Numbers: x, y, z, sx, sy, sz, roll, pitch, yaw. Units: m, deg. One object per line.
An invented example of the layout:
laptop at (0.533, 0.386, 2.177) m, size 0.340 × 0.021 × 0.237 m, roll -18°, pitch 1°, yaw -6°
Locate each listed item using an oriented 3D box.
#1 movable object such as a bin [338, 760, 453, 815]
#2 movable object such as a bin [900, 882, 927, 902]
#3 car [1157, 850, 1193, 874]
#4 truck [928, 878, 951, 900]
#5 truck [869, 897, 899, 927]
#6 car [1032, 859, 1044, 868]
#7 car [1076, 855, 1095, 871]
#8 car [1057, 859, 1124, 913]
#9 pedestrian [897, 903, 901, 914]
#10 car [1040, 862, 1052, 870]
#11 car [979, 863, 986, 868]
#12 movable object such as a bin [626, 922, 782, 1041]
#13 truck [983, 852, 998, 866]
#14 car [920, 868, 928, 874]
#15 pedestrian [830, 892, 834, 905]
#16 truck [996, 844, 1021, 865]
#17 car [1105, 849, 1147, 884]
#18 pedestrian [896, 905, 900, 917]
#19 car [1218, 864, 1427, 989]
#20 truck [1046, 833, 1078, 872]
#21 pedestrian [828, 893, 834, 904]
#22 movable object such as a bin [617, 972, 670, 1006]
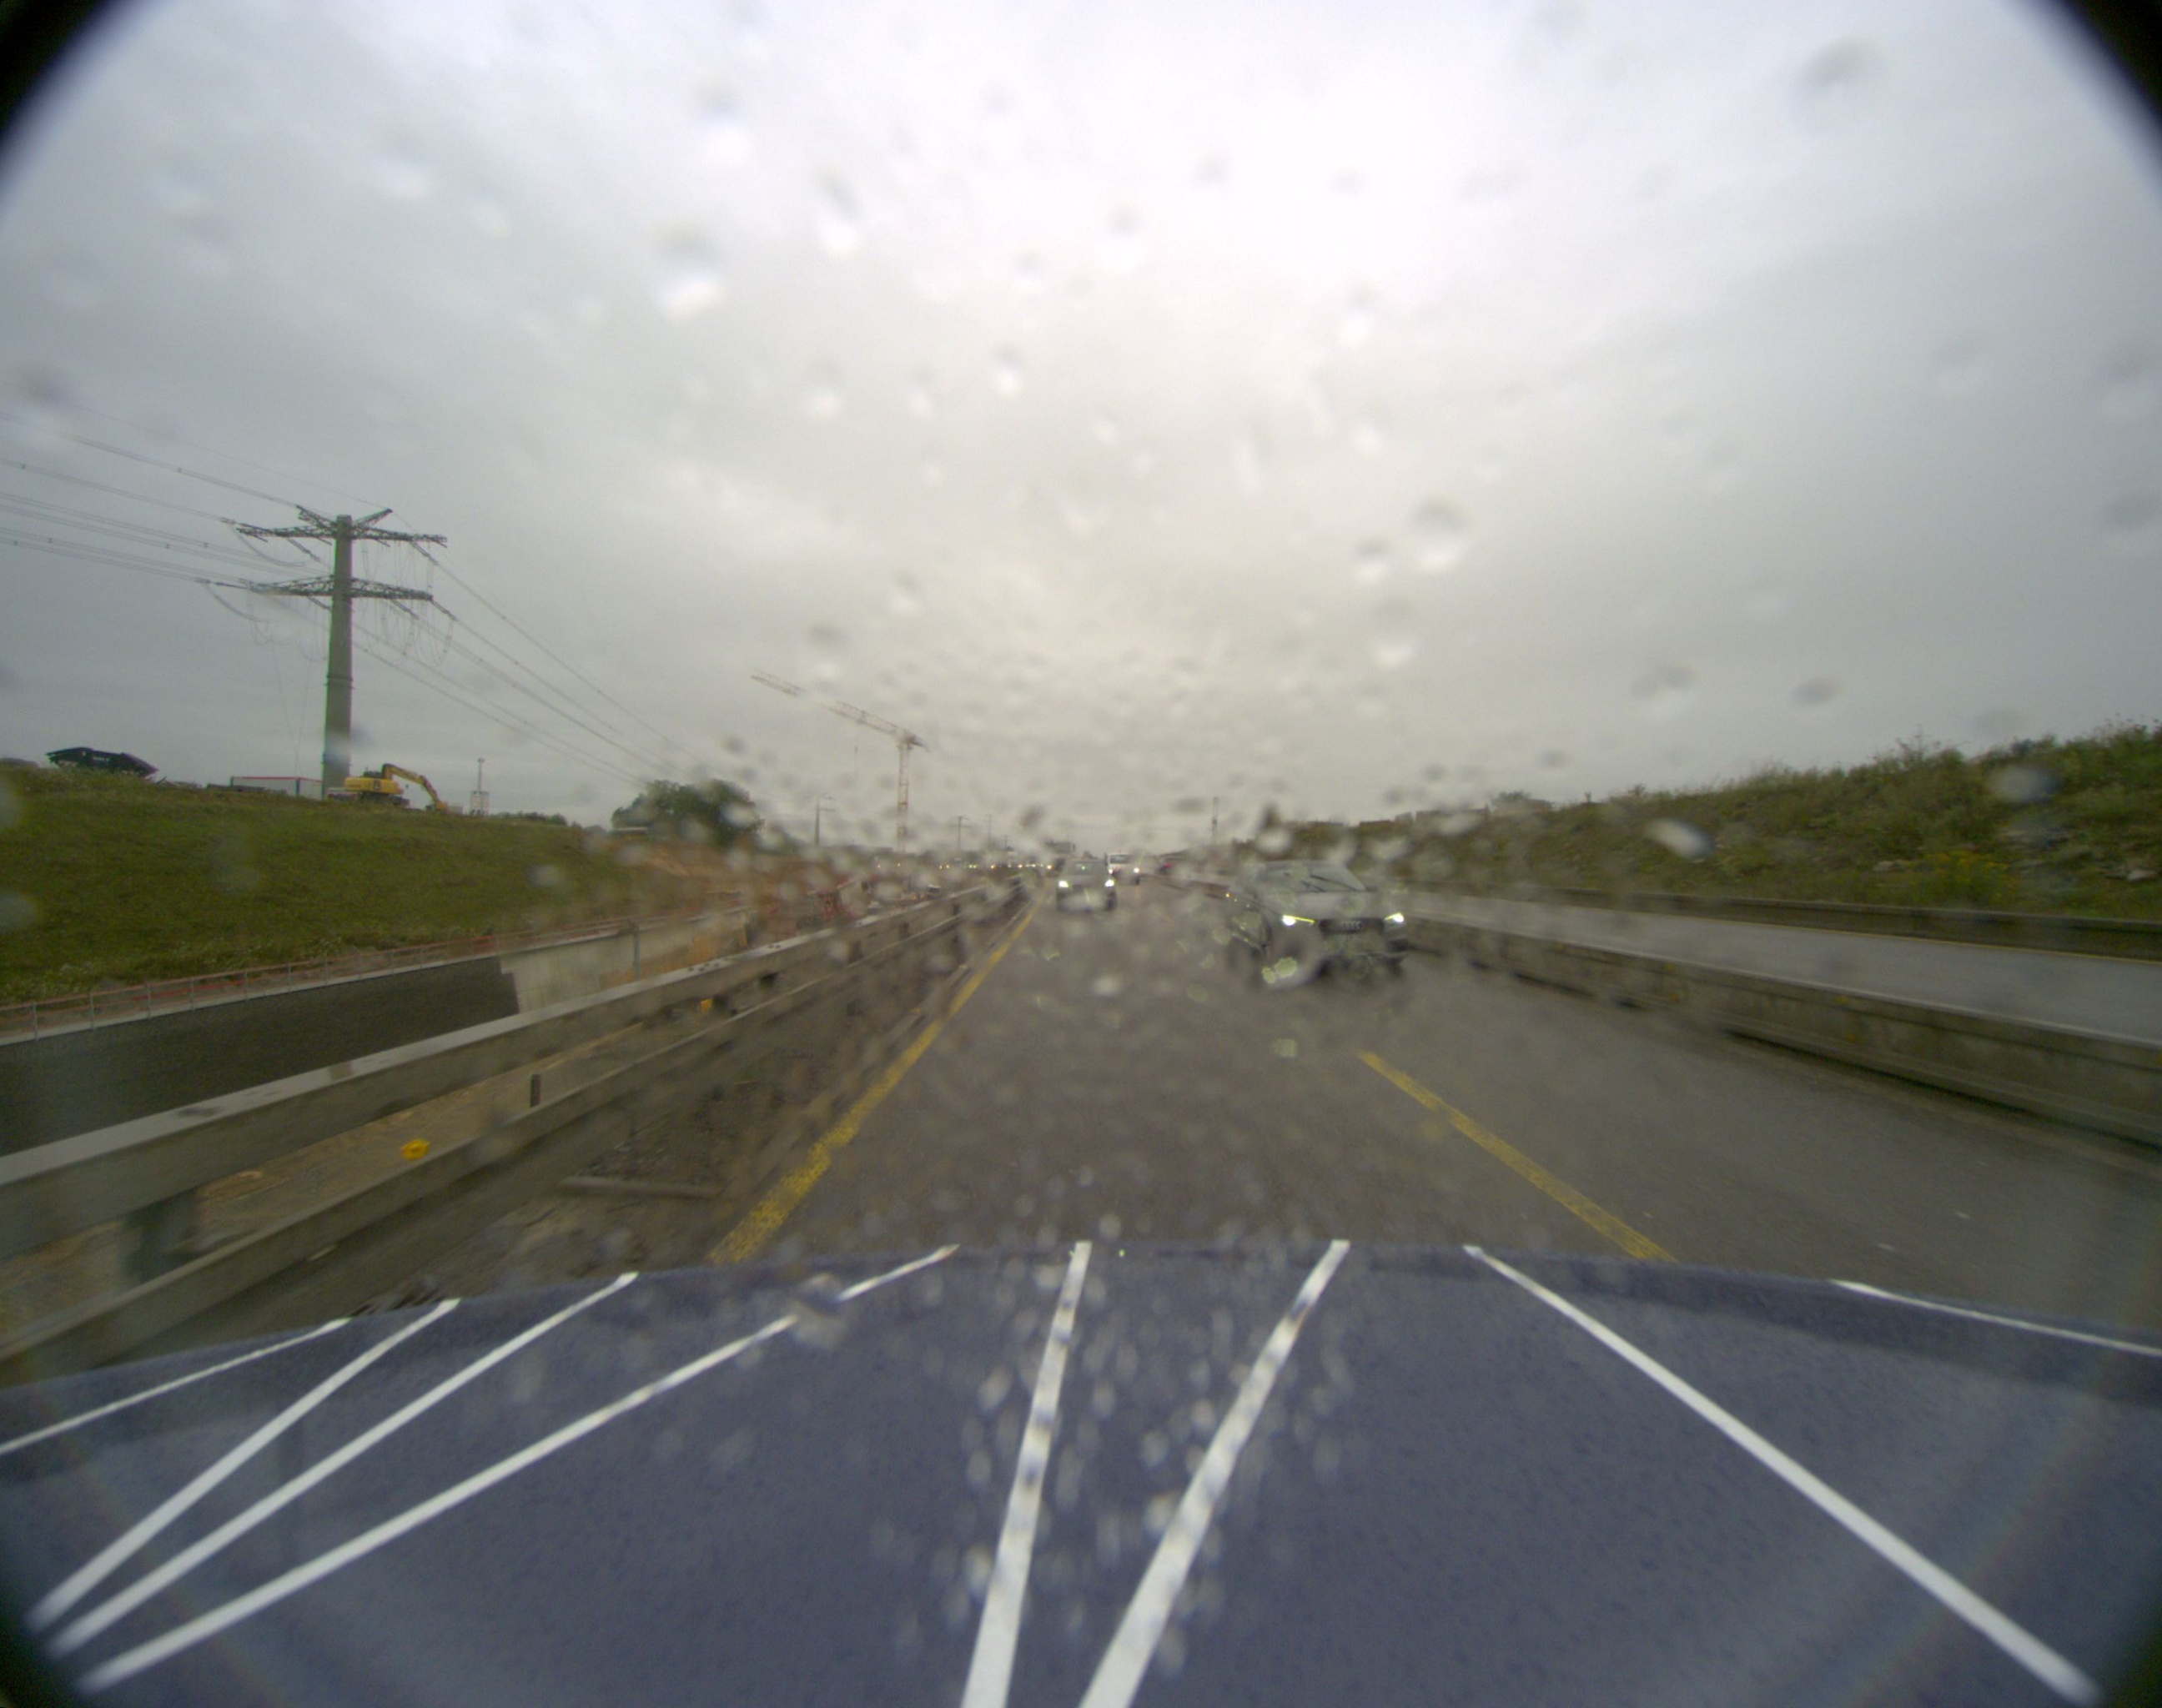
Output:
movable object such as a bin at (-62.263, -5.936, 69.371) m, size 3.107 × 4.181 × 8.177 m, roll -1°, pitch 0°, yaw -1°
movable object such as a bin at (-31.795, 7.192, 144.774) m, size 3.517 × 3.405 × 6.651 m, roll -2°, pitch 1°, yaw 0°
car at (6.309, 0.516, 51.491) m, size 1.816 × 1.584 × 4.901 m, roll 0°, pitch 0°, yaw -1°
truck at (-28.215, 6.876, 151.530) m, size 3.362 × 3.521 × 8.901 m, roll -1°, pitch 2°, yaw -4°
truck at (-28.597, 8.363, 110.765) m, size 2.711 × 3.591 × 9.068 m, roll 0°, pitch 1°, yaw -5°
car at (-8.742, 1.983, 154.376) m, size 1.791 × 1.646 × 3.996 m, roll -3°, pitch 0°, yaw -11°
car at (0.490, 1.093, 90.560) m, size 1.790 × 1.744 × 3.998 m, roll -3°, pitch 0°, yaw -5°
car at (0.201, 0.928, 23.945) m, size 1.874 × 1.481 × 4.260 m, roll -2°, pitch 0°, yaw -2°
pedestrian at (-30.329, 9.068, 126.387) m, size 0.603 × 1.894 × 0.481 m, roll 0°, pitch 1°, yaw -9°
car at (-6.344, 2.124, 137.537) m, size 1.791 × 1.418 × 3.997 m, roll -3°, pitch 0°, yaw -9°
car at (-29.779, 3.515, 229.133) m, size 1.791 × 1.418 × 3.997 m, roll -3°, pitch 0°, yaw -9°
movable object such as a bin at (-26.228, 8.615, 54.189) m, size 4.907 × 5.639 × 12.082 m, roll -4°, pitch 3°, yaw -1°
truck at (-25.542, 1.359, 213.982) m, size 3.548 × 3.871 × 8.328 m, roll -3°, pitch 0°, yaw -10°
car at (-52.665, 5.688, 254.796) m, size 2.352 × 1.609 × 4.855 m, roll -1°, pitch 0°, yaw -10°
pedestrian at (-42.695, 7.624, 130.296) m, size 0.489 × 2.088 × 0.481 m, roll -7°, pitch 2°, yaw -9°
truck at (-15.772, 0.134, 164.722) m, size 4.321 × 4.319 × 13.397 m, roll -3°, pitch 0°, yaw -9°
car at (2.653, 0.702, 45.698) m, size 2.070 × 1.933 × 5.155 m, roll -2°, pitch 0°, yaw -1°
pedestrian at (-30.258, 9.456, 125.642) m, size 0.603 × 1.894 × 0.614 m, roll 0°, pitch 1°, yaw -9°
car at (3.281, 0.901, 11.206) m, size 1.804 × 1.375 × 4.087 m, roll -2°, pitch 0°, yaw 1°
truck at (-1.938, -0.151, 74.344) m, size 2.857 × 3.462 × 8.641 m, roll -2°, pitch 1°, yaw -3°
pedestrian at (-42.768, 7.632, 130.030) m, size 0.488 × 1.794 × 0.583 m, roll -5°, pitch 2°, yaw 32°
movable object such as a bin at (-34.880, 10.723, 60.676) m, size 2.524 × 1.900 × 3.254 m, roll -4°, pitch 1°, yaw -7°
